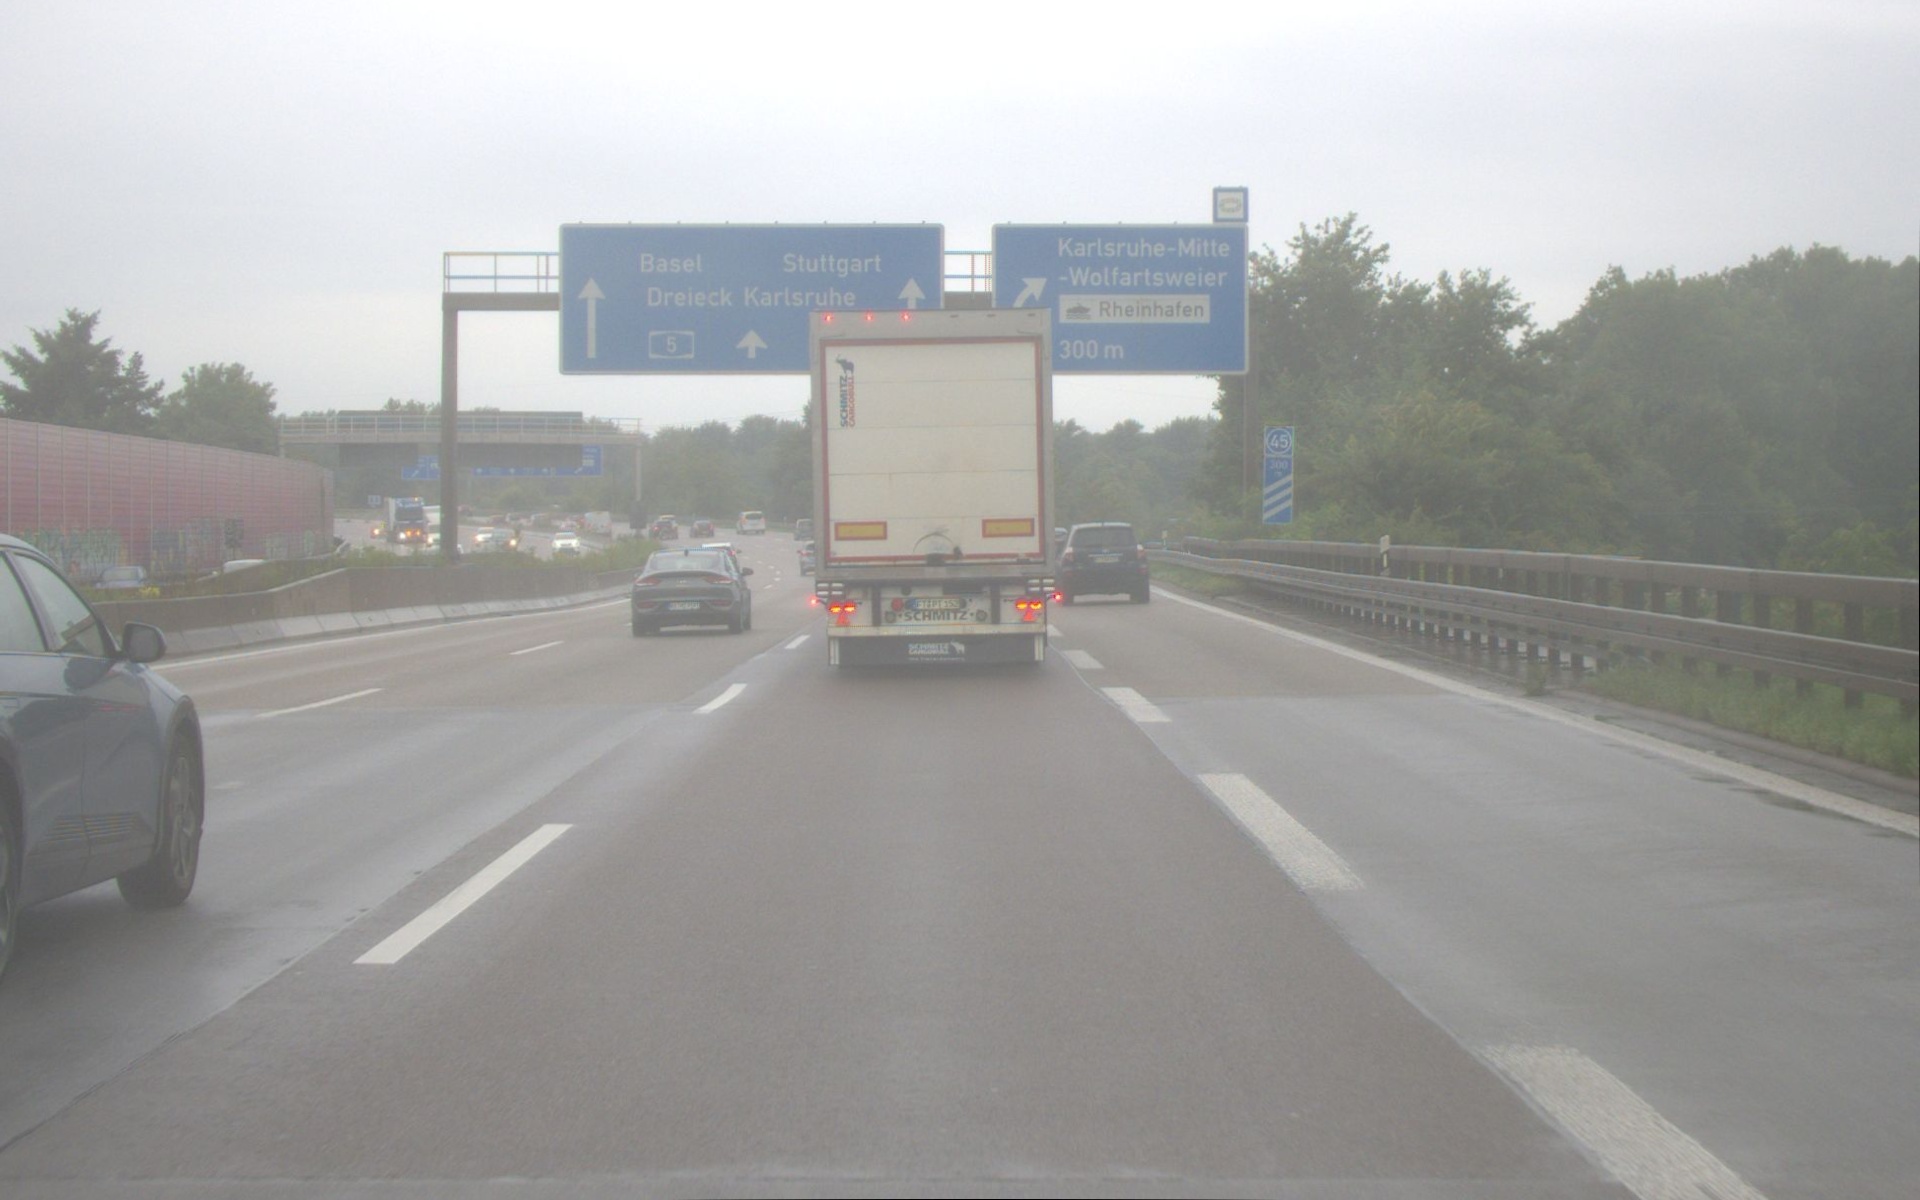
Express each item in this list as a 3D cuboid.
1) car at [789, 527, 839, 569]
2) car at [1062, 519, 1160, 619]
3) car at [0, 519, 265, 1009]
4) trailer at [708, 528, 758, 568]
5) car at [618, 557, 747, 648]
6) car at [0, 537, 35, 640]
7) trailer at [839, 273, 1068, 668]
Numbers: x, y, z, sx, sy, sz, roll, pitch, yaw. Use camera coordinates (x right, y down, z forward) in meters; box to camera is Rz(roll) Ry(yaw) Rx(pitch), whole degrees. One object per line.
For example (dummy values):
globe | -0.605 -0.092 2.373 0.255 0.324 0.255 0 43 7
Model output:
car | -6.121 -2.173 144.327 1.894 1.718 4.000 0 1 0
car | 3.119 -0.653 71.637 1.897 1.943 4.000 2 1 1
car | -4.096 0.501 13.464 1.838 1.589 5.156 0 1 -2
trailer | -9.726 -2.243 147.496 1.815 1.619 4.568 1 1 0
car | -4.588 0.008 57.460 1.725 1.398 4.829 2 1 0
car | -19.709 -0.245 66.583 1.993 2.007 5.807 2 1 -1
trailer | -0.041 -1.592 43.891 2.342 4.143 14.828 1 2 0
